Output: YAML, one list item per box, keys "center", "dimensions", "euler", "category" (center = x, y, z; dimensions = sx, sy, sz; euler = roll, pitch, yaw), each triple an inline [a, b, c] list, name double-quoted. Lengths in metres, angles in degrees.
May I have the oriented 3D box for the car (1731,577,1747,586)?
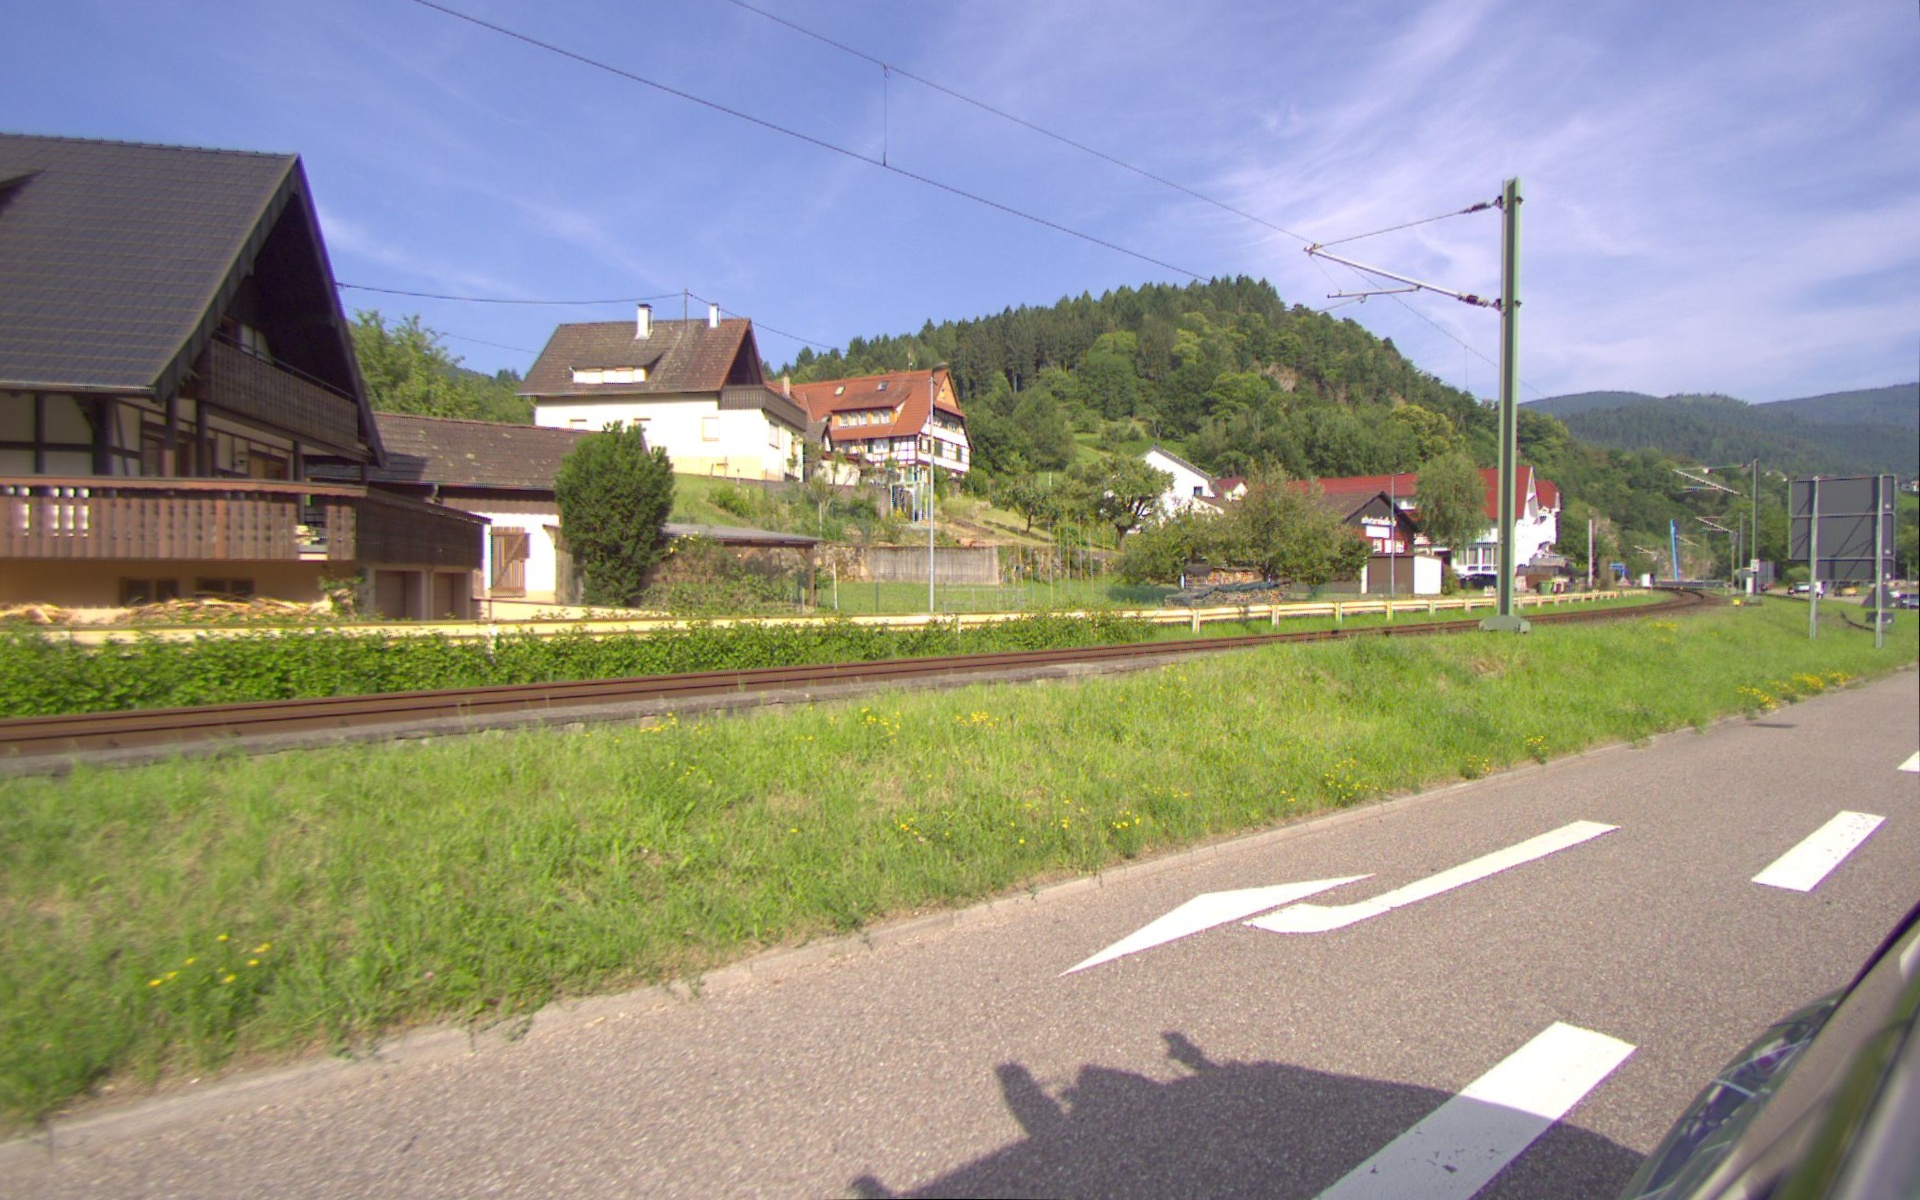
- center: [157.222, -3.674, 204.208]
  dimensions: [1.904, 1.683, 3.960]
  euler: [0, 0, 29]
  category: "car"

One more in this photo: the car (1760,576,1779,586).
- center: [140.679, -3.215, 175.904]
  dimensions: [1.982, 1.683, 3.960]
  euler: [0, 0, 29]
  category: "car"

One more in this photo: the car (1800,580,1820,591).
- center: [130.785, -2.180, 155.800]
  dimensions: [1.710, 1.683, 3.957]
  euler: [0, 0, 30]
  category: "car"

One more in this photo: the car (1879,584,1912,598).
- center: [109.644, -1.071, 118.655]
  dimensions: [1.853, 1.683, 3.959]
  euler: [0, 0, 29]
  category: "car"

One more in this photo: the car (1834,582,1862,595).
- center: [119.765, -1.525, 136.552]
  dimensions: [1.982, 1.683, 3.961]
  euler: [0, 0, 28]
  category: "car"

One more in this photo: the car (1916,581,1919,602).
- center: [86.643, -0.778, 90.215]
  dimensions: [1.720, 1.849, 3.799]
  euler: [0, 0, 39]
  category: "car"

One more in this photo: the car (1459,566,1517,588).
- center: [44.114, -1.905, 84.622]
  dimensions: [1.801, 1.794, 3.988]
  euler: [0, 0, -45]
  category: "car"
